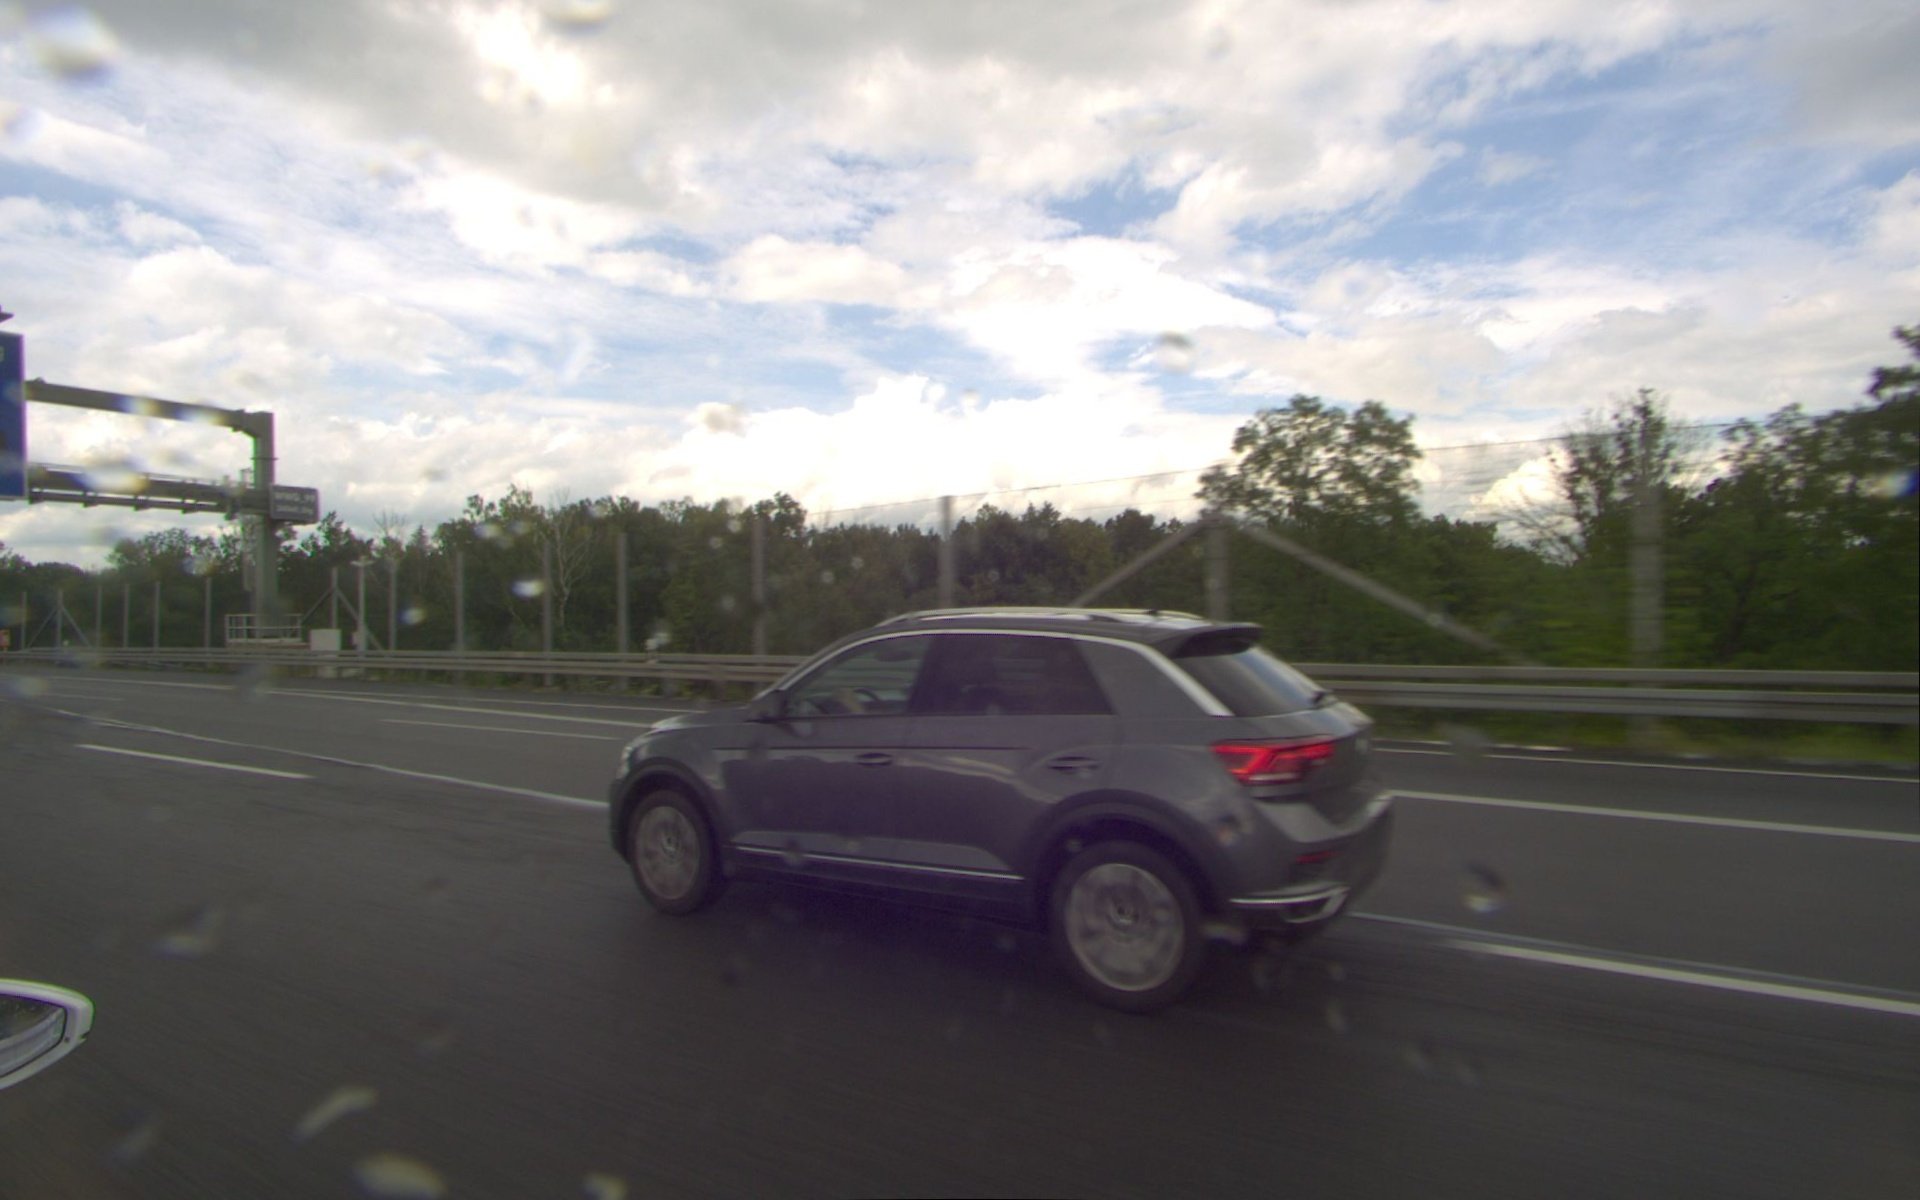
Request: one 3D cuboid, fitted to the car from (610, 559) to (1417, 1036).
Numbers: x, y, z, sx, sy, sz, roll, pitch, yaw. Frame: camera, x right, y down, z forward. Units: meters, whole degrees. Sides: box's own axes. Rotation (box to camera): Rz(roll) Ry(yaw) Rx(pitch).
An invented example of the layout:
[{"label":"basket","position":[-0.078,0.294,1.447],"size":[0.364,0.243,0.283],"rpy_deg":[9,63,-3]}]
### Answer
[{"label":"car","position":[0.194,0.734,5.057],"size":[3.668,1.582,1.790],"rpy_deg":[-2,-2,31]}]
